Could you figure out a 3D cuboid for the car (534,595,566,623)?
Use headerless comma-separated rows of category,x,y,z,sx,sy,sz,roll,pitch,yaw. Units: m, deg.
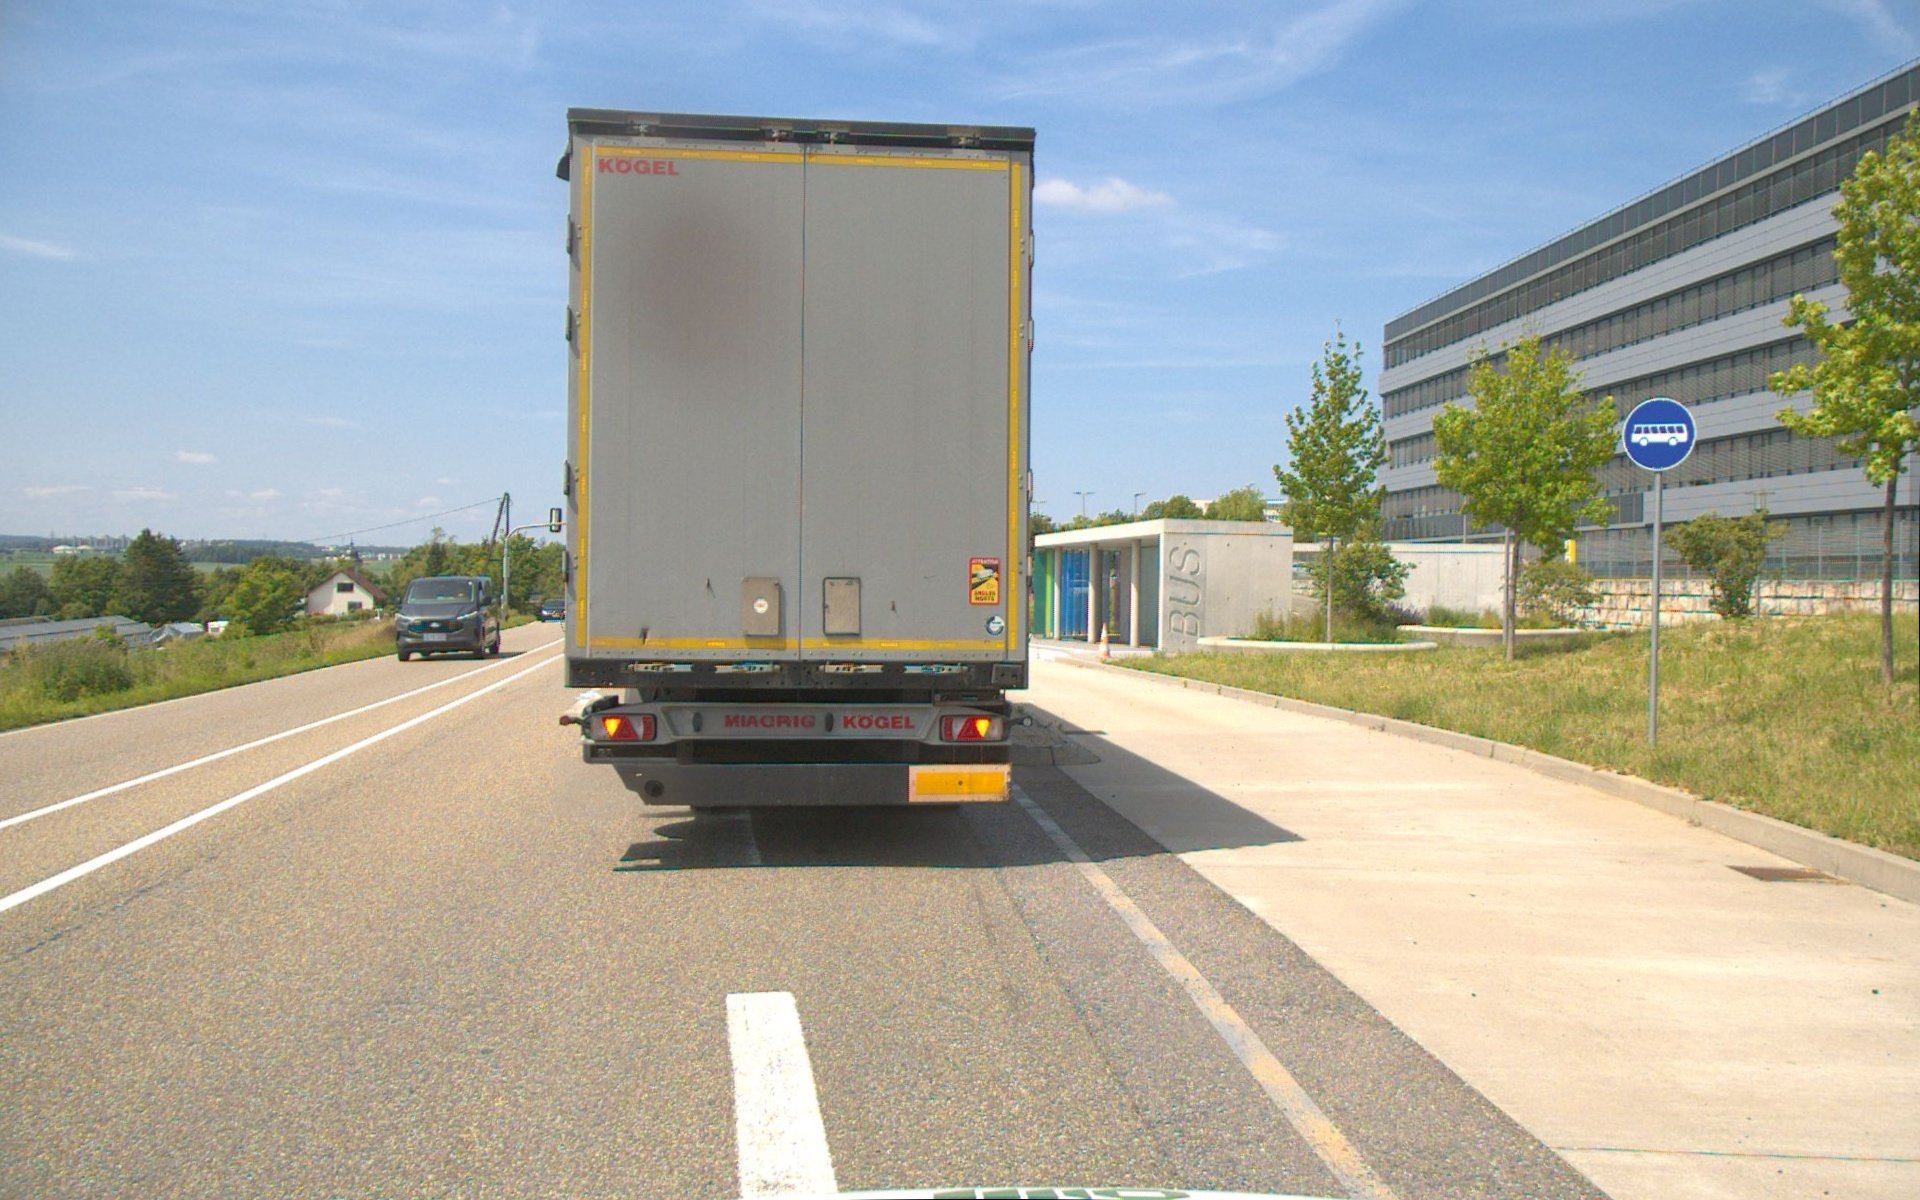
car,-27.294,0.589,110.109,1.959,1.819,3.987,-2,0,-13

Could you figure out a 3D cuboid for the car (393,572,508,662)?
car,-12.494,0.369,40.861,1.957,2.013,5.267,-2,0,-9

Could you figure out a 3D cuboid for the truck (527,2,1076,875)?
truck,-1.194,-0.847,13.050,2.850,4.487,8.850,0,0,-5
